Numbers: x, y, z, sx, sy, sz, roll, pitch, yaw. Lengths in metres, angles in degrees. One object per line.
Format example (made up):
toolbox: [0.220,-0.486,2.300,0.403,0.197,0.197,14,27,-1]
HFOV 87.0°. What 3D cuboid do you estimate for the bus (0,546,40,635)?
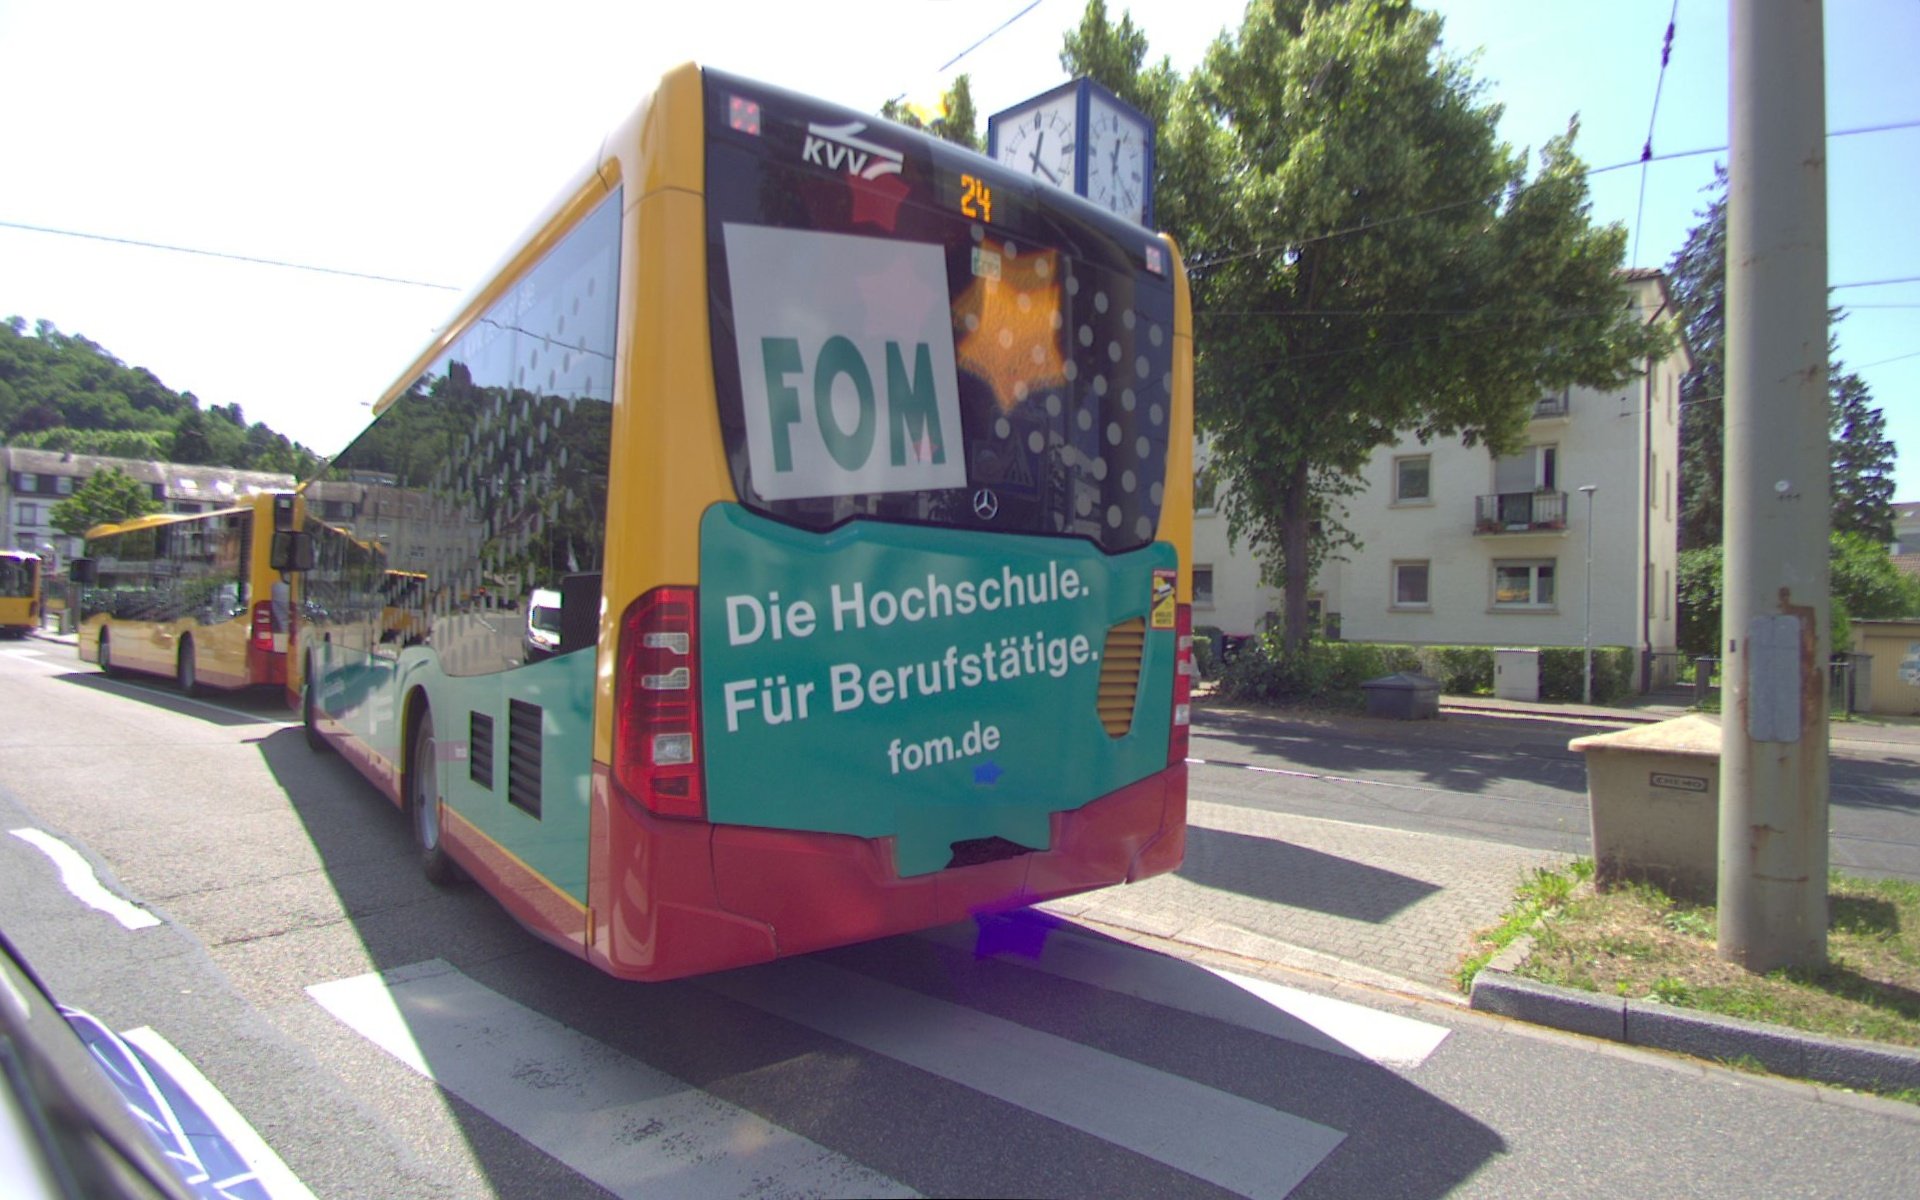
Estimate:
bus: [-40.133,-0.518,40.973,12.191,3.271,2.868,2,2,41]

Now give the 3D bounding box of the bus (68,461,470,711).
bus: [-13.044,-0.259,18.287,12.109,3.272,2.878,1,1,40]

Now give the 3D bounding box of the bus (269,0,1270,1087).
bus: [-3.557,-0.319,8.327,2.744,3.233,12.331,0,0,-38]
